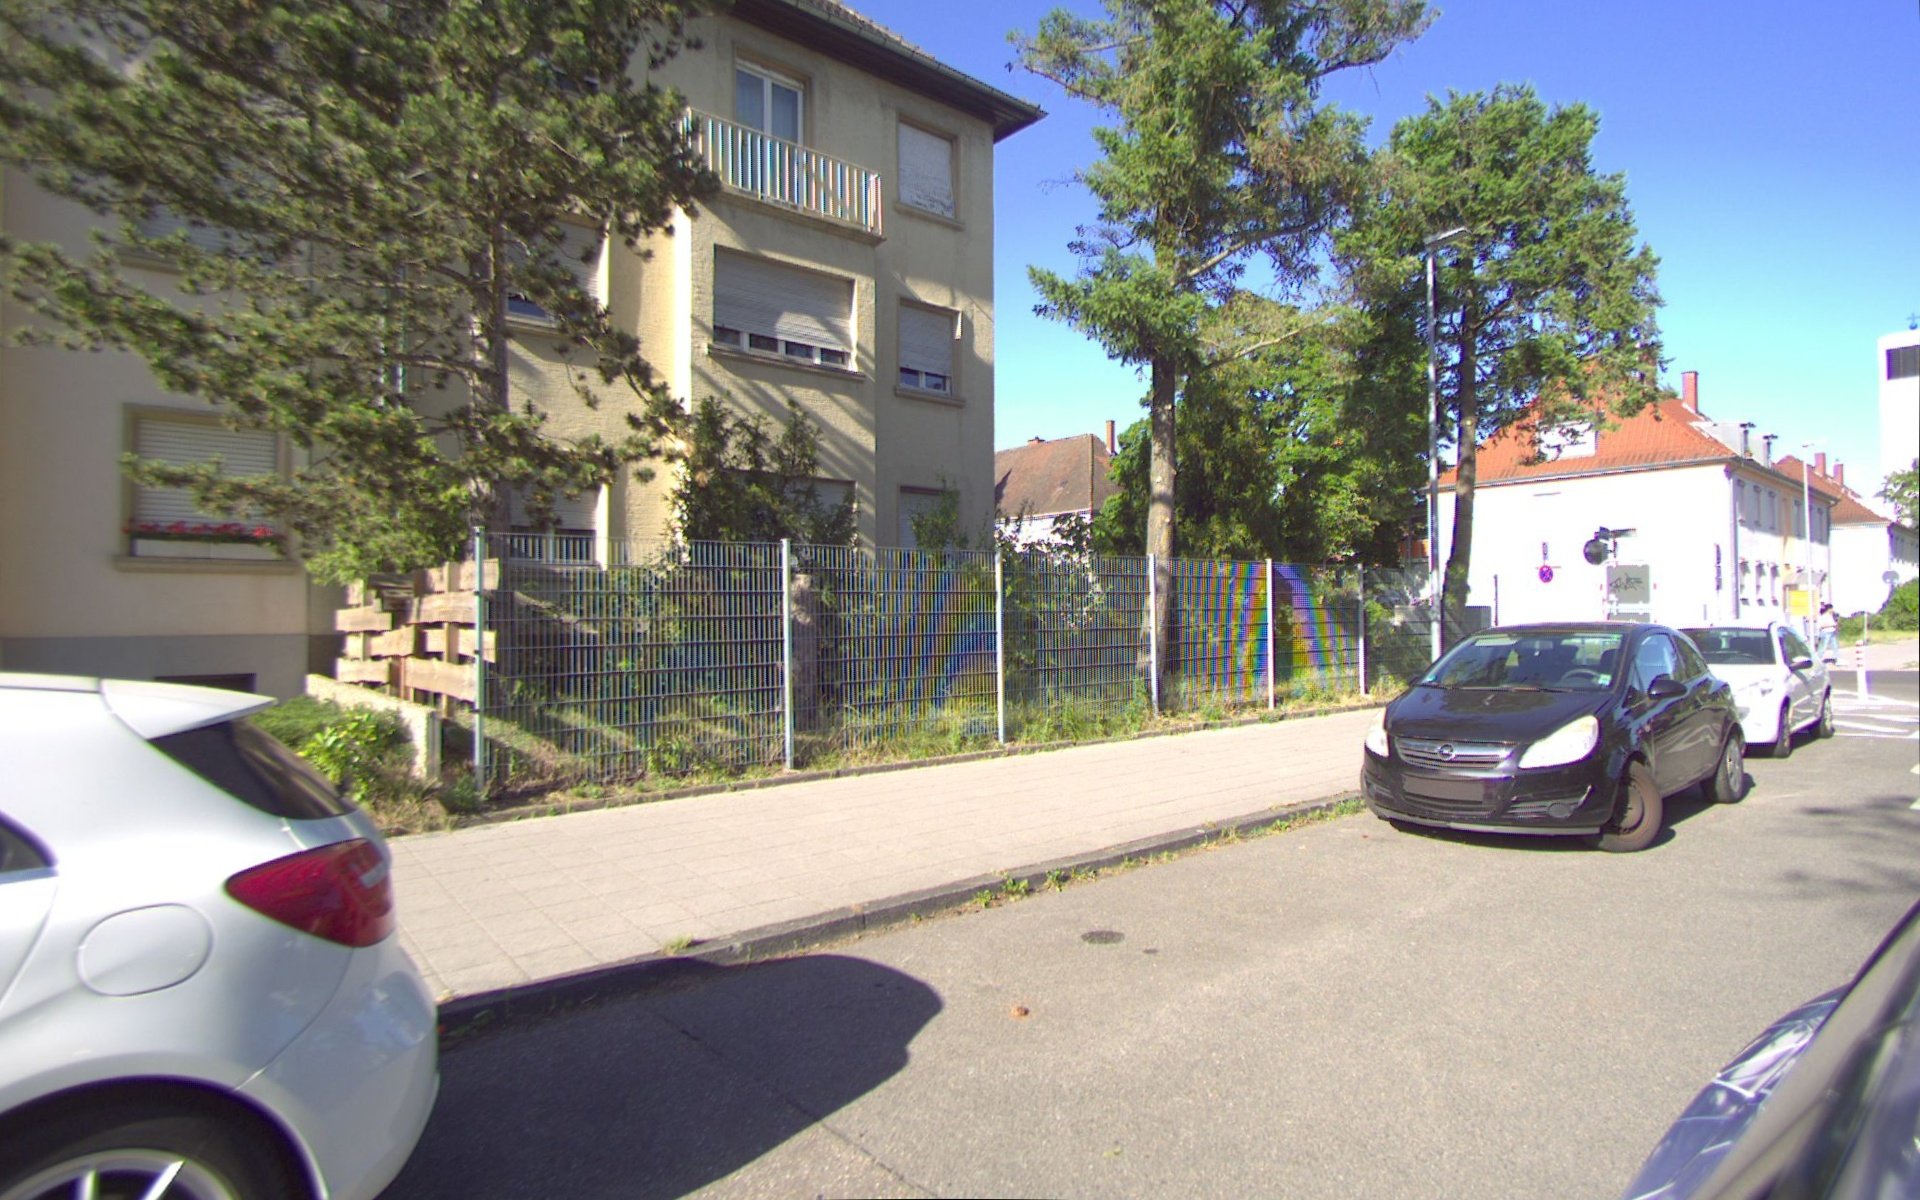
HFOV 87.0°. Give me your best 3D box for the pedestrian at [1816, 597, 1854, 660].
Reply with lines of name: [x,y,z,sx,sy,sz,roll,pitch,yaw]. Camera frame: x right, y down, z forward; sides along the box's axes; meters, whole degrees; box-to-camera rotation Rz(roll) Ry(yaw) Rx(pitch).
pedestrian: [24.098,0.776,27.866,0.638,1.688,0.650,-2,1,-35]

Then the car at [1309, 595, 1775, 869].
car: [4.554,0.782,7.700,3.924,1.530,1.797,0,-3,-40]

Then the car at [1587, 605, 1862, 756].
car: [9.083,0.838,11.902,4.061,1.441,1.674,0,-3,-40]

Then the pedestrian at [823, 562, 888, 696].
pedestrian: [-1.357,0.367,13.085,0.637,1.683,0.651,0,-2,-24]

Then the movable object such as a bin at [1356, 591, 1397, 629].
movable object such as a bin: [17.964,0.433,43.667,1.173,1.629,1.173,0,-2,-40]

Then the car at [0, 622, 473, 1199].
car: [-3.237,0.825,1.521,4.213,1.439,1.797,0,-3,-40]
